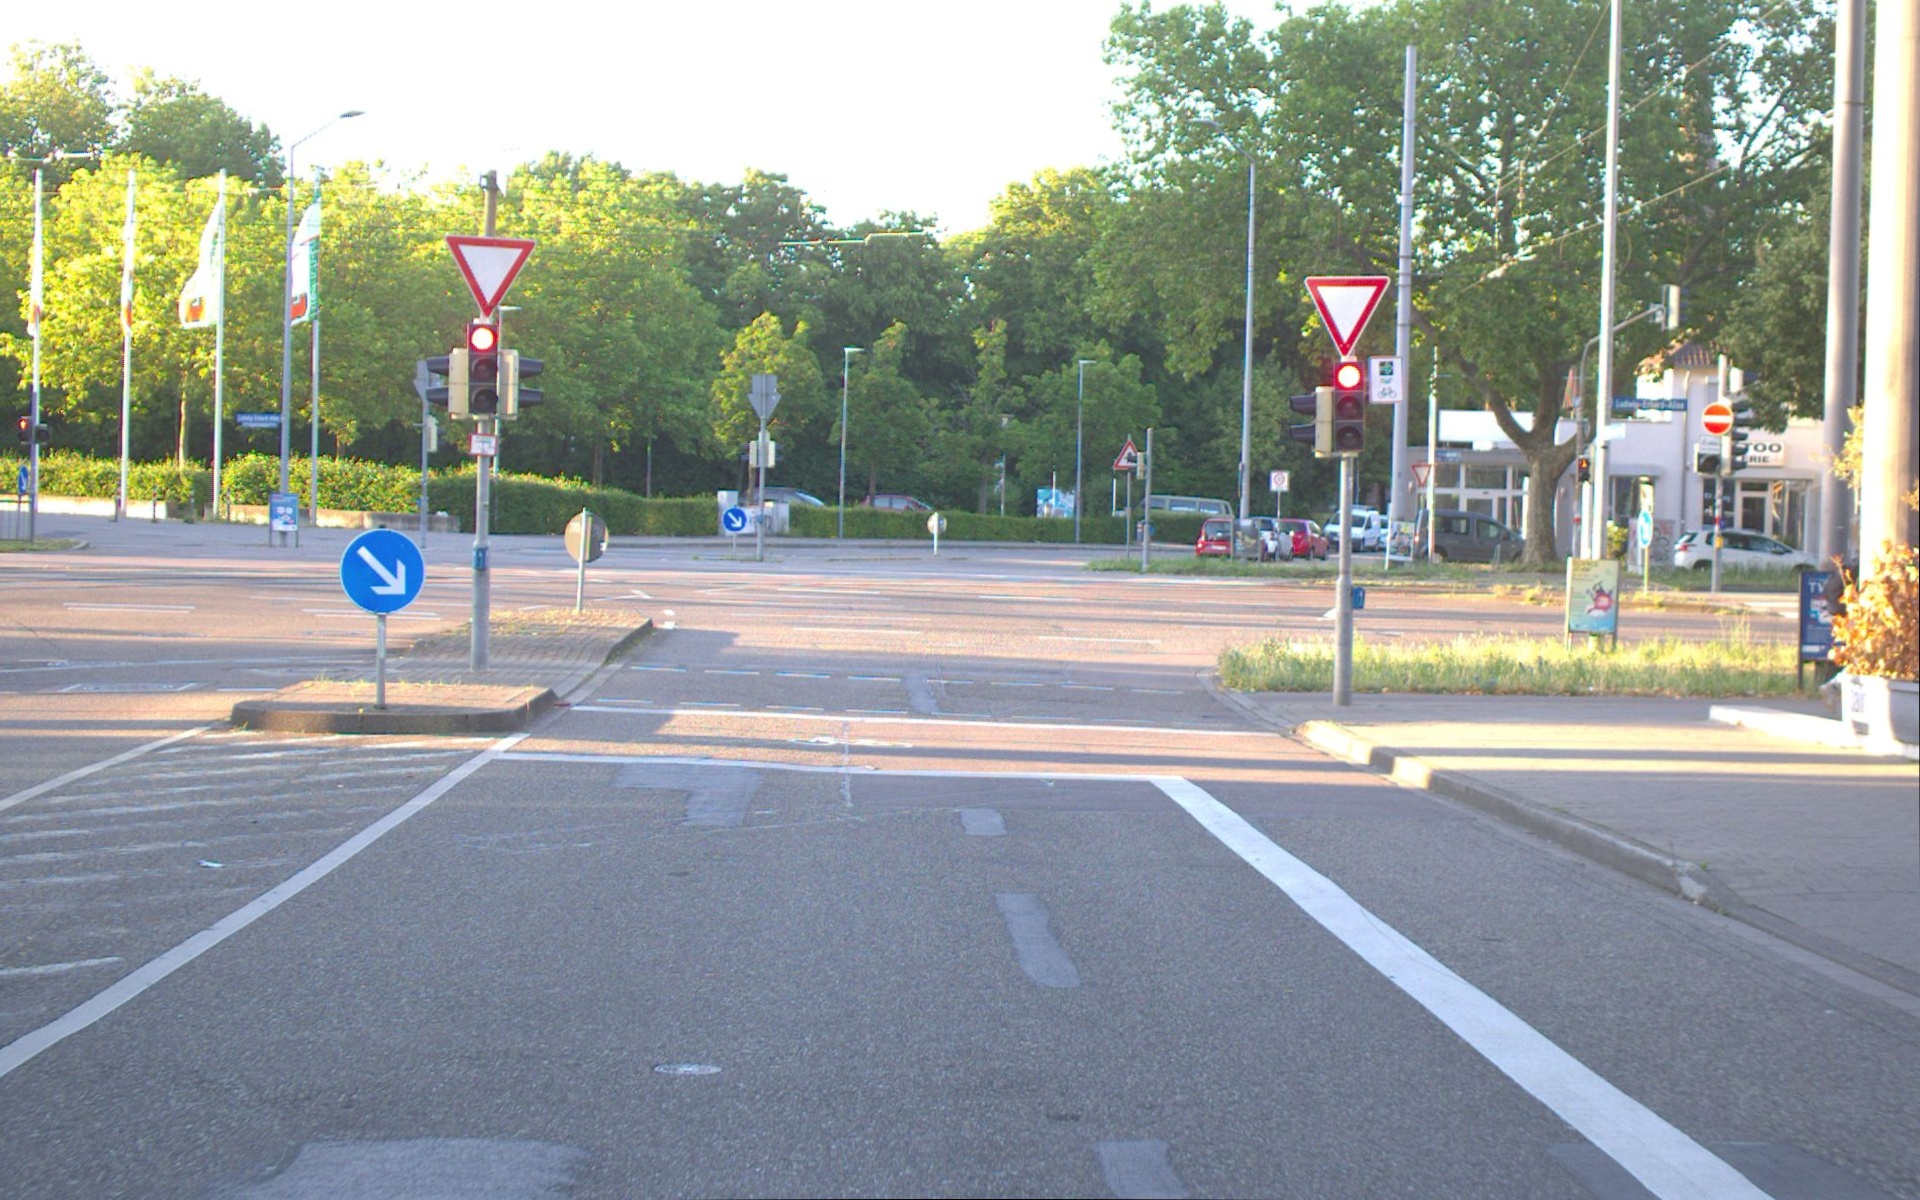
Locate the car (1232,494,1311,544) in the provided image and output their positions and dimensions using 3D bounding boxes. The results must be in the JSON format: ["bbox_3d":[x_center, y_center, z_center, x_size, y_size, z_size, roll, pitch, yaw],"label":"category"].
[{"bbox_3d":[10.549,-2.746,116.303,1.499,1.600,3.399,3,3,26],"label":"car"}]

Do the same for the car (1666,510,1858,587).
[{"bbox_3d":[20.753,-1.354,89.048,4.467,1.810,1.945,2,3,1],"label":"car"}]

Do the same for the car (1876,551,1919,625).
[{"bbox_3d":[26.106,-0.269,88.547,4.467,1.810,1.945,2,3,1],"label":"car"}]

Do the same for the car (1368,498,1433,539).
[{"bbox_3d":[16.886,-3.123,131.718,1.499,1.472,3.080,3,3,26],"label":"car"}]

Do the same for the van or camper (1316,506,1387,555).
[{"bbox_3d":[16.821,-2.988,147.759,1.627,1.975,3.801,3,3,29],"label":"van or camper"}]

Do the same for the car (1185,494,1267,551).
[{"bbox_3d":[8.726,-2.554,112.510,1.499,1.754,3.399,3,3,26],"label":"car"}]

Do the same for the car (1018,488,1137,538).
[{"bbox_3d":[4.783,-3.538,139.546,4.685,1.862,2.013,2,3,6],"label":"car"}]

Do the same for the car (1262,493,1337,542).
[{"bbox_3d":[11.886,-2.896,120.133,1.499,1.600,3.399,3,3,26],"label":"car"}]

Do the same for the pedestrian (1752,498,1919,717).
[{"bbox_3d":[7.564,0.060,29.692,1.053,1.827,0.896,1,3,-14],"label":"pedestrian"}]

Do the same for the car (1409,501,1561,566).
[{"bbox_3d":[16.168,-2.055,105.988,4.468,1.810,1.945,2,3,5],"label":"car"}]
